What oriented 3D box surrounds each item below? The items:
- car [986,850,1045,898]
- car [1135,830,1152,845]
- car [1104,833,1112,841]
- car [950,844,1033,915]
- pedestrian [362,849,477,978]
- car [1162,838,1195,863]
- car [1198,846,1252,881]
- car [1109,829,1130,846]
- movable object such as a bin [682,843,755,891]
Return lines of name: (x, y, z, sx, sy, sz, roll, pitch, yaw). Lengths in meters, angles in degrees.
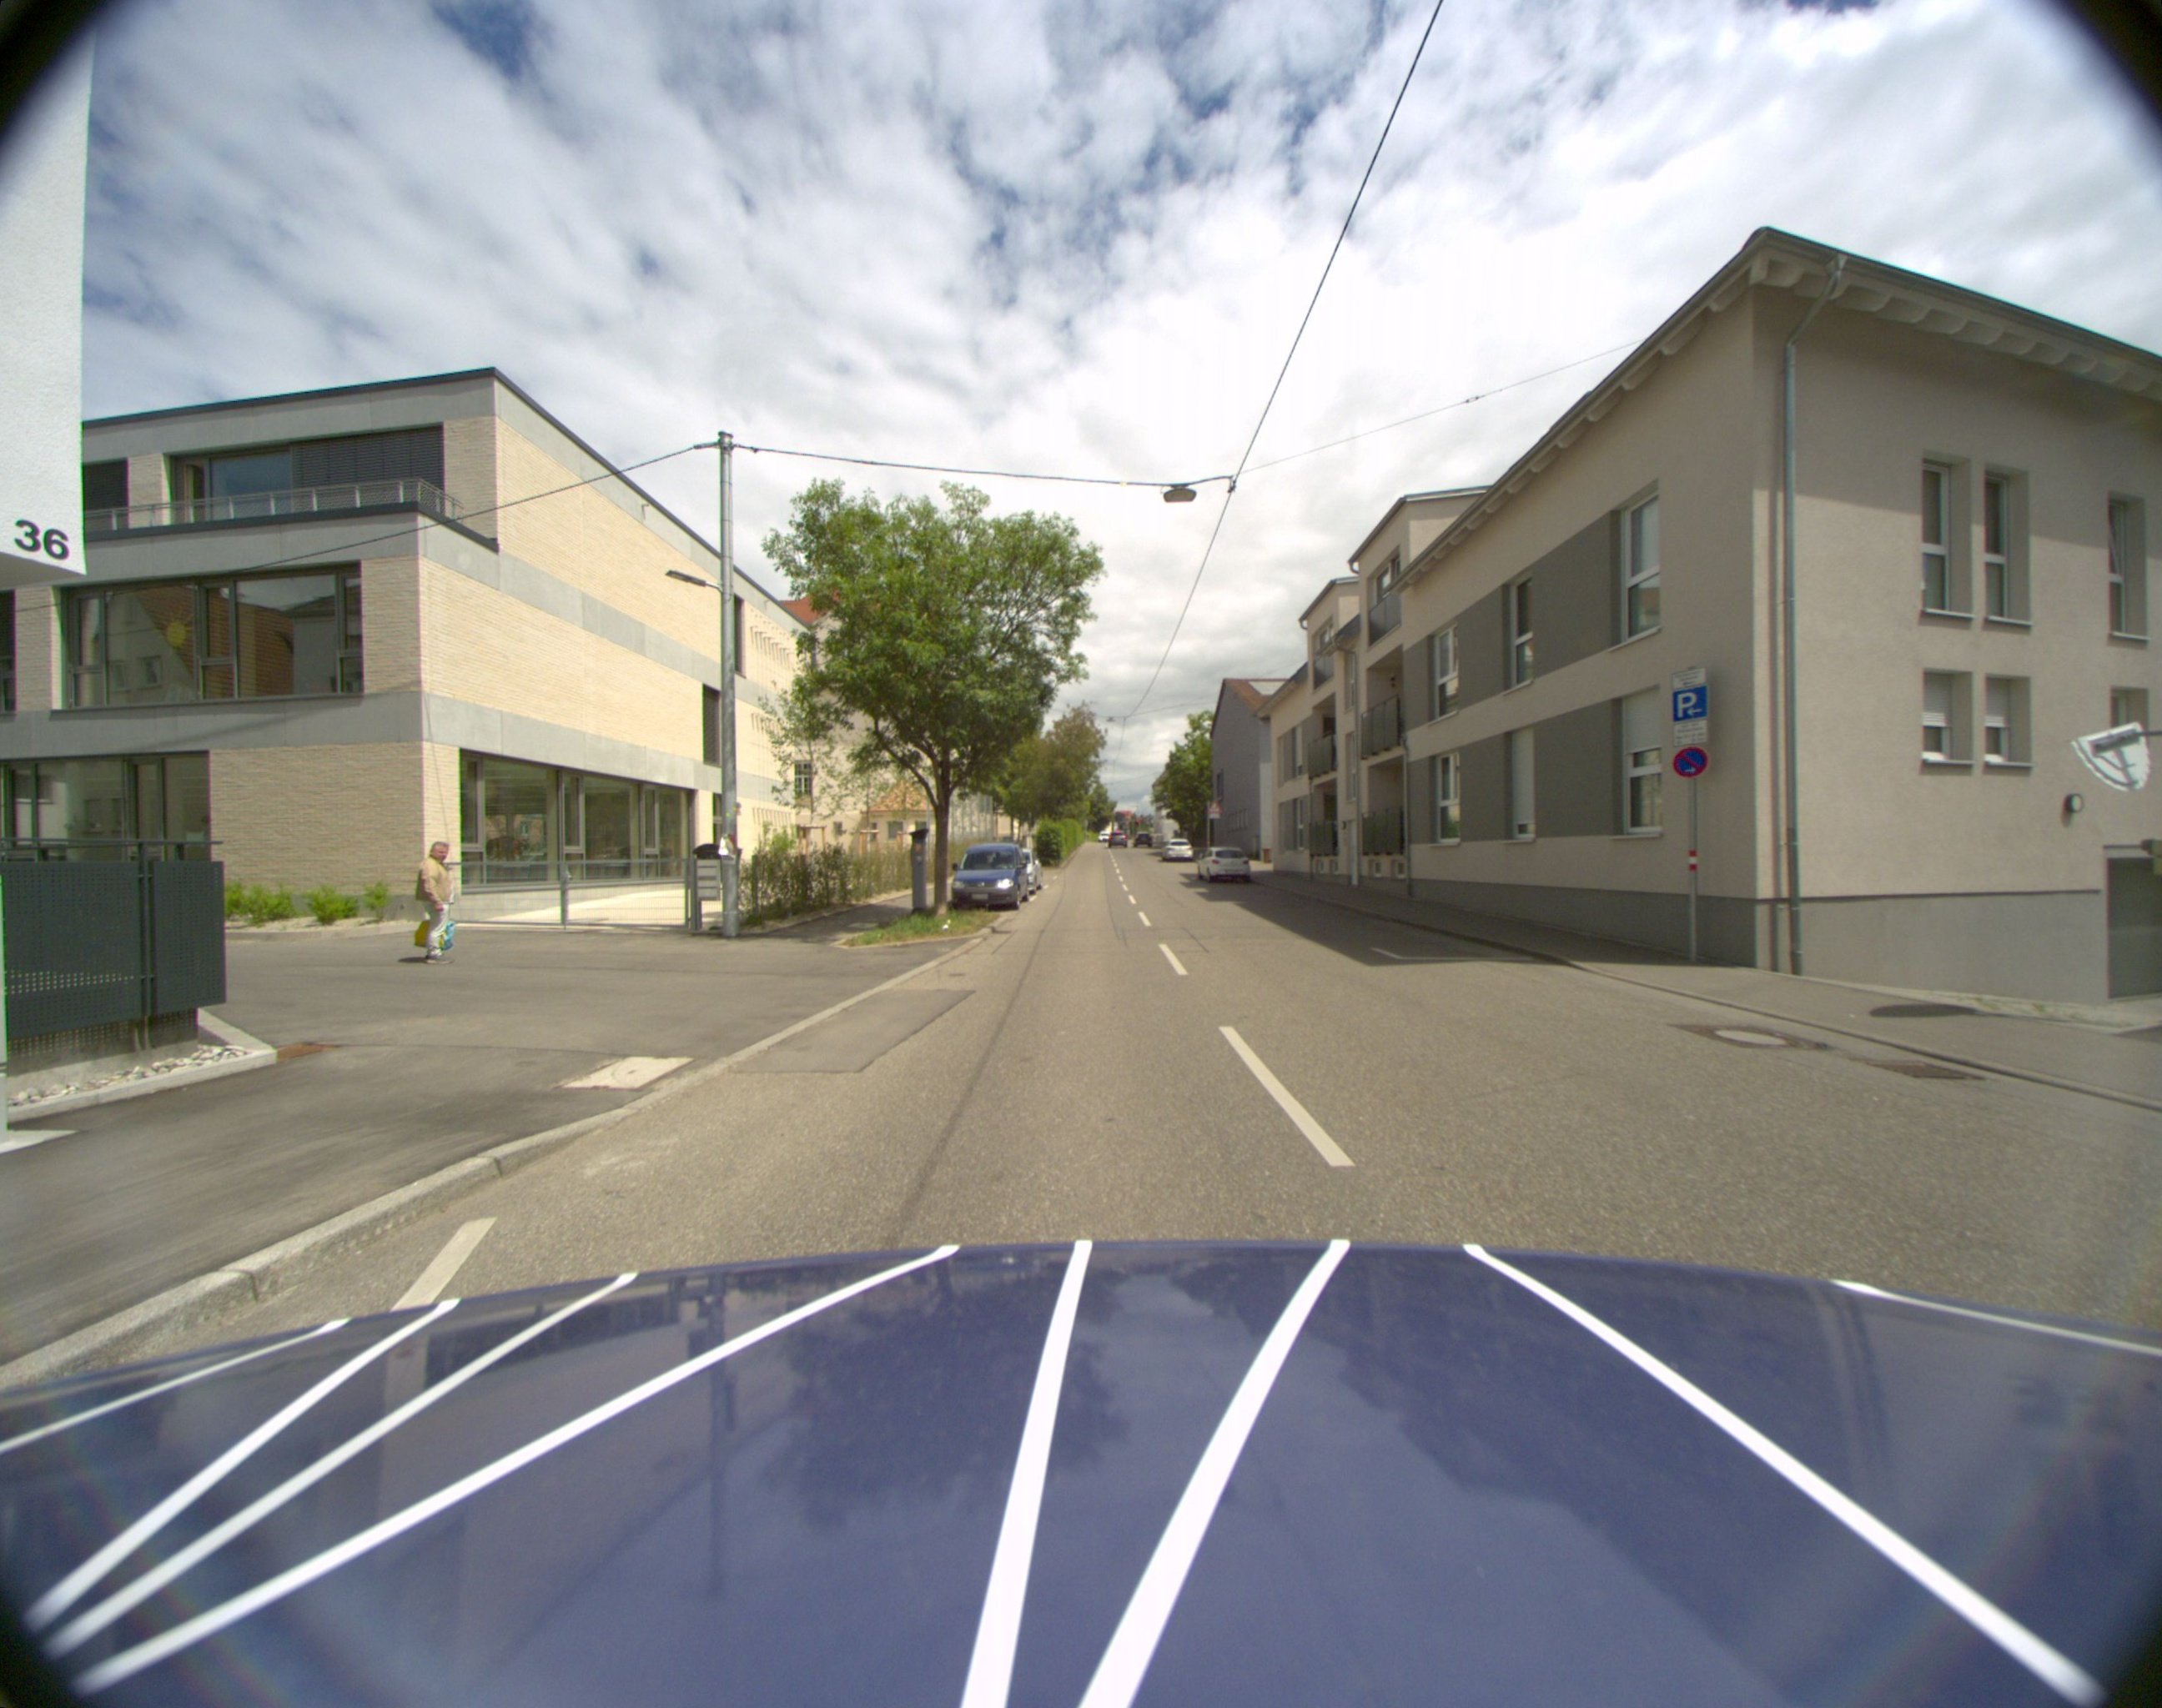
car: (-2.230, 0.652, 26.865, 1.677, 1.510, 3.670, -1, 1, 1)
car: (6.768, -1.770, 82.636, 1.672, 1.545, 3.964, 0, 3, 1)
car: (4.376, -2.761, 124.453, 1.298, 1.148, 2.983, -1, -1, 1)
car: (-2.383, 0.608, 21.179, 1.698, 1.733, 4.158, 0, 1, 1)
pedestrian: (-9.137, 0.796, 10.533, 0.775, 1.693, 0.829, -2, 1, 0)
car: (6.304, -0.288, 49.479, 1.737, 1.480, 4.065, 0, 3, 1)
car: (5.924, 0.363, 31.542, 1.665, 1.322, 3.473, 0, 2, 1)
car: (3.994, -1.721, 79.708, 1.946, 1.709, 4.596, 0, 0, 0)
movable object such as a bin: (-11.496, 0.387, 24.200, 1.351, 1.438, 1.807, -2, 1, 2)
